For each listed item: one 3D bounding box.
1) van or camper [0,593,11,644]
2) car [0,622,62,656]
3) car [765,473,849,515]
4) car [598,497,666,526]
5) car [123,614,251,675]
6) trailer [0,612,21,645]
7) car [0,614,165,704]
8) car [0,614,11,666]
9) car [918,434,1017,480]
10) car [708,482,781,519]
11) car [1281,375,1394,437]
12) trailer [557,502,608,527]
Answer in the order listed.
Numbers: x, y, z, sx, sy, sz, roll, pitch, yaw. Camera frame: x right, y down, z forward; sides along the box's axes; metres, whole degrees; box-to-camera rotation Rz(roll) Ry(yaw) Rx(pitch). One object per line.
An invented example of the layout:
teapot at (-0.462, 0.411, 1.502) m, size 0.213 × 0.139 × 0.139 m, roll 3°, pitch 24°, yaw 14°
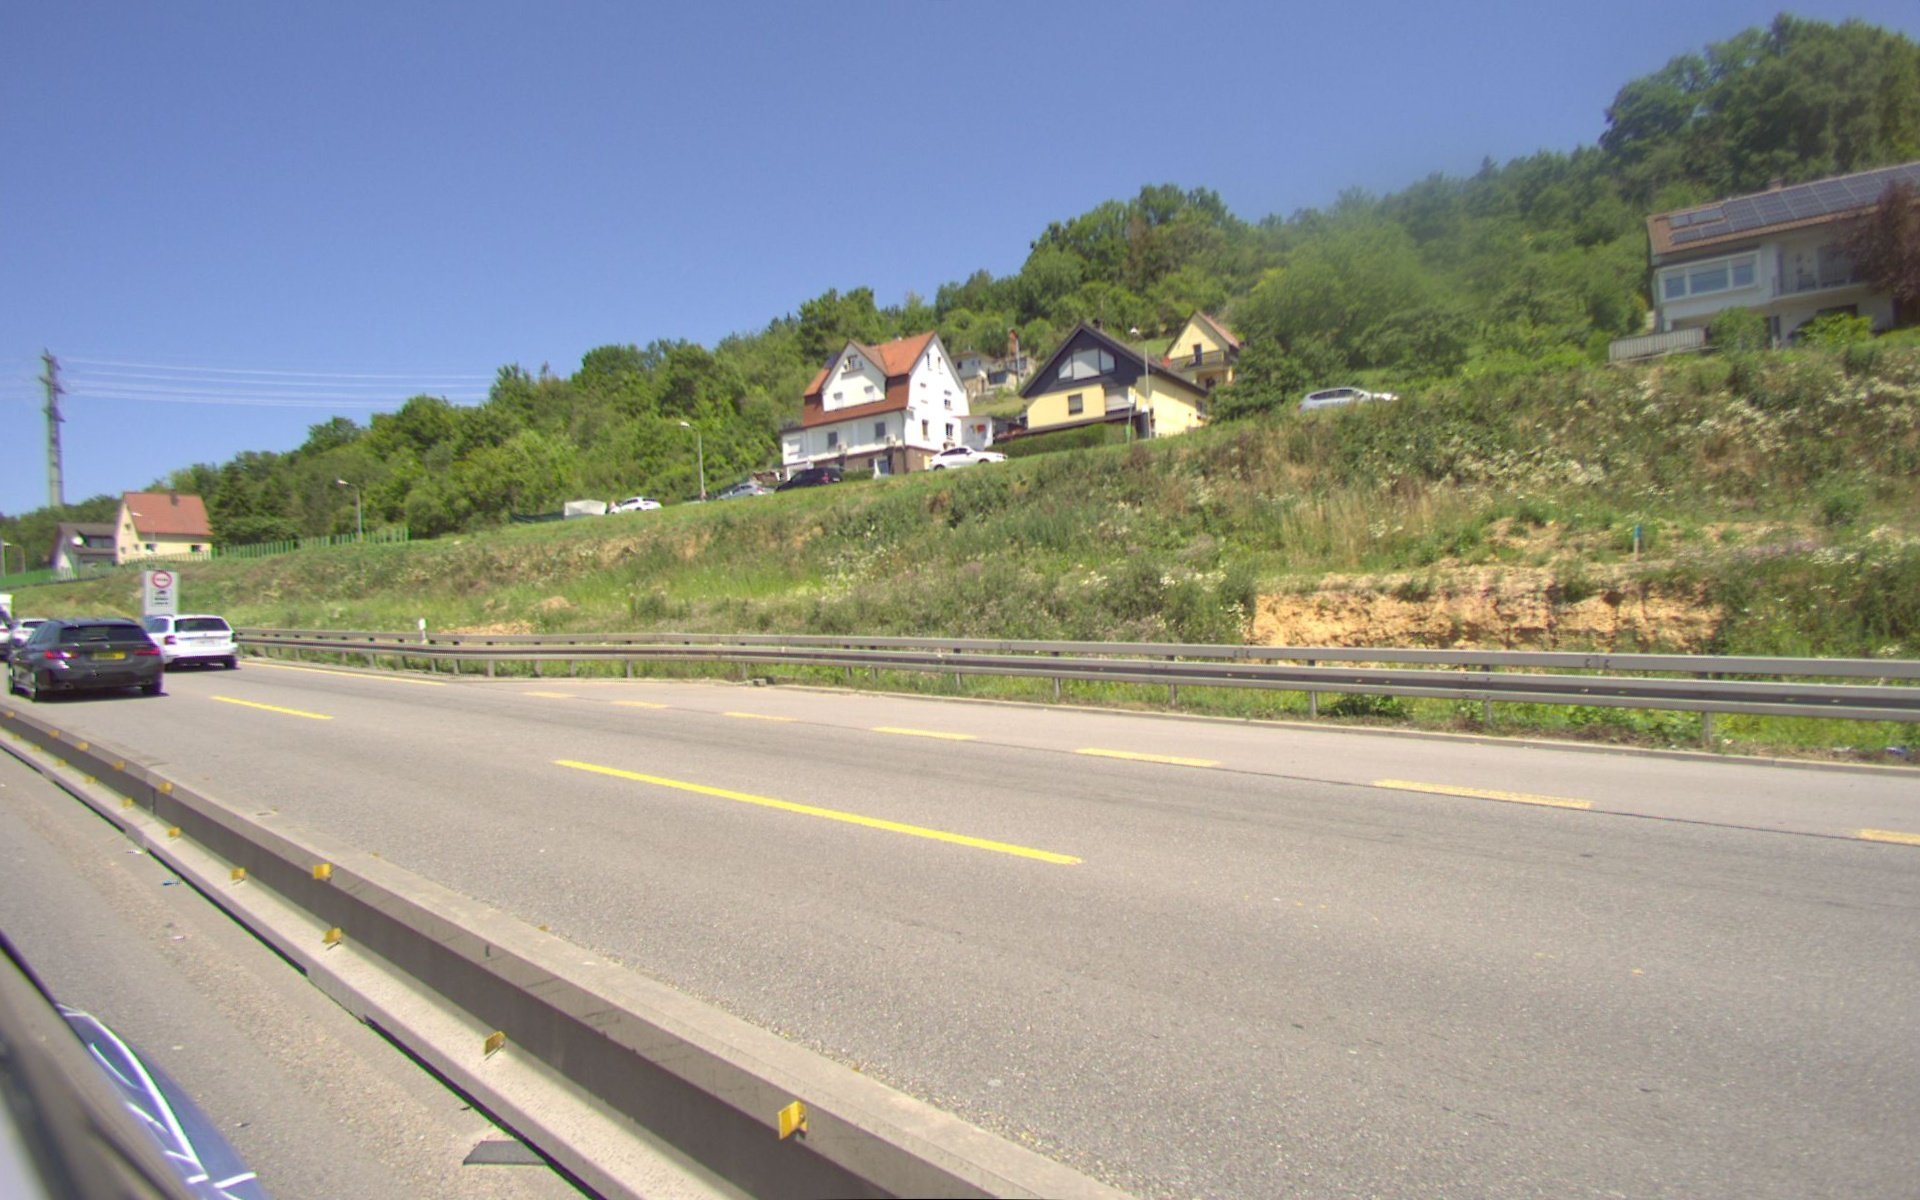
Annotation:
van or camper at (-61.713, 1.172, 63.657) m, size 6.920 × 3.089 × 2.267 m, roll -1°, pitch 0°, yaw 41°
car at (-43.920, 1.811, 47.745) m, size 4.553 × 1.442 × 1.791 m, roll -1°, pitch 0°, yaw 41°
car at (-9.156, -6.265, 60.240) m, size 4.963 × 2.023 × 2.052 m, roll 0°, pitch 0°, yaw 36°
car at (-22.304, -5.989, 68.764) m, size 4.537 × 1.668 × 1.979 m, roll 0°, pitch 0°, yaw 32°
car at (-20.706, 1.136, 27.049) m, size 4.596 × 1.508 × 1.785 m, roll -1°, pitch -1°, yaw 40°
trailer at (-57.223, 1.681, 59.738) m, size 5.138 × 1.908 × 2.079 m, roll -1°, pitch 0°, yaw 41°
car at (-16.416, 1.015, 18.832) m, size 4.353 × 1.477 × 1.779 m, roll -1°, pitch -2°, yaw 41°
car at (-32.610, 1.313, 33.131) m, size 4.169 × 1.652 × 1.788 m, roll -1°, pitch -1°, yaw 40°
car at (0.373, -7.488, 53.321) m, size 5.000 × 1.807 × 1.977 m, roll 0°, pitch 0°, yaw 35°
car at (-13.447, -6.148, 63.047) m, size 4.421 × 1.886 × 1.976 m, roll 0°, pitch 0°, yaw 36°
car at (15.402, -7.890, 41.371) m, size 3.990 × 1.807 × 1.977 m, roll 0°, pitch 0°, yaw 35°
trailer at (-26.714, -6.001, 71.581) m, size 3.026 × 1.527 × 1.888 m, roll 0°, pitch 0°, yaw 31°
